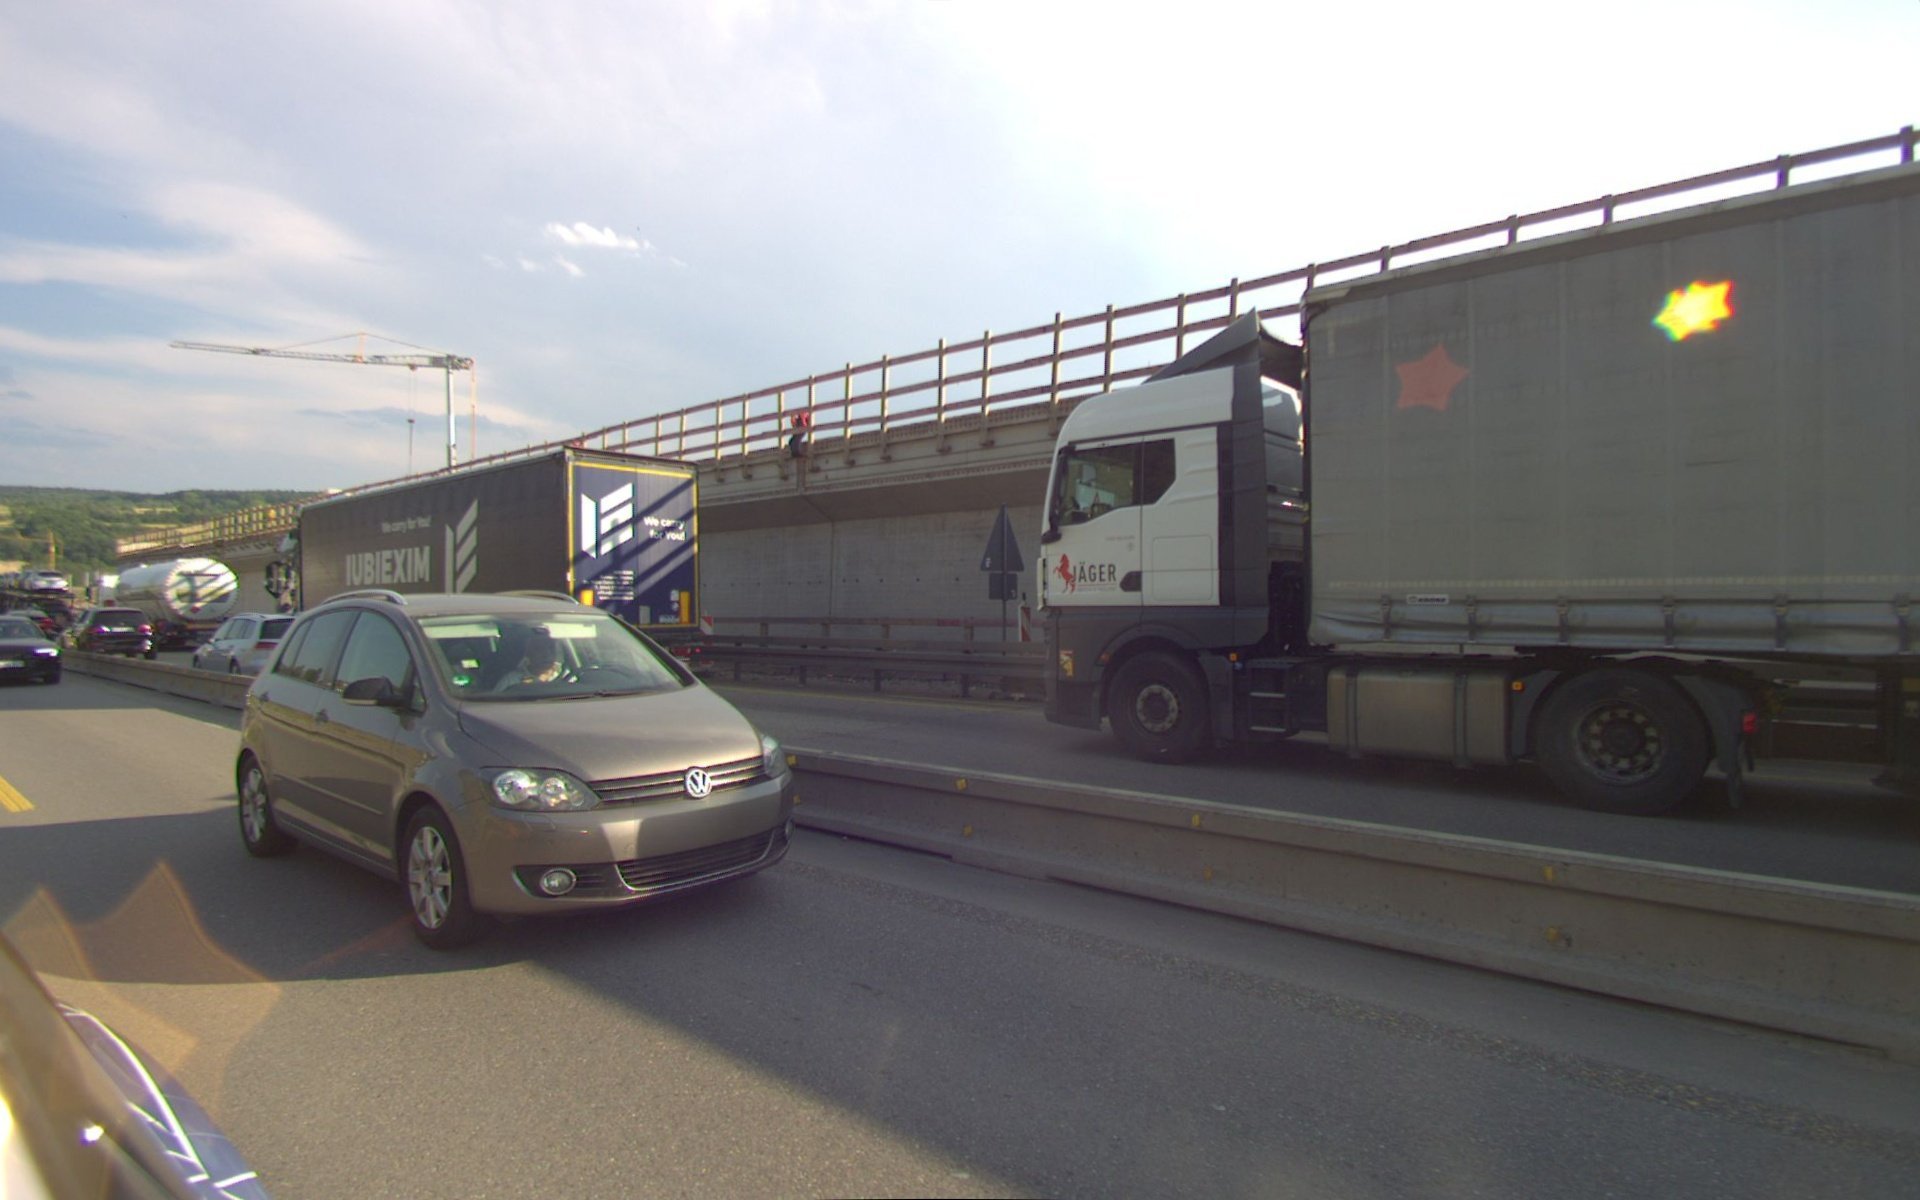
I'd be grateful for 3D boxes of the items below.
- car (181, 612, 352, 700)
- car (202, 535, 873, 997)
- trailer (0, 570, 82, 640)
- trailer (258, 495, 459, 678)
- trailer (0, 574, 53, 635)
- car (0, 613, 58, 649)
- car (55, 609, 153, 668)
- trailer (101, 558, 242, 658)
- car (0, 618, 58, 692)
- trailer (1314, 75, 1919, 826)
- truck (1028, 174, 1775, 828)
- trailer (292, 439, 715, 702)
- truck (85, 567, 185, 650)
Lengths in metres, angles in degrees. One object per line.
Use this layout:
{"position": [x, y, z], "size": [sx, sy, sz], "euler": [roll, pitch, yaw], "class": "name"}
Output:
{"position": [-13.429, 0.987, 19.494], "size": [4.594, 1.470, 1.624], "euler": [0, 0, 41], "class": "car"}
{"position": [-2.565, 0.666, 5.566], "size": [4.269, 1.601, 1.663], "euler": [-2, -4, 41], "class": "car"}
{"position": [-59.857, 0.272, 65.374], "size": [15.758, 4.061, 2.742], "euler": [0, 0, 42], "class": "trailer"}
{"position": [-15.616, -0.256, 26.112], "size": [5.973, 4.173, 2.736], "euler": [-2, -1, 41], "class": "trailer"}
{"position": [-65.414, 0.273, 70.358], "size": [7.205, 4.061, 2.742], "euler": [0, 0, 42], "class": "trailer"}
{"position": [-42.860, 1.400, 46.422], "size": [4.294, 1.569, 1.707], "euler": [-1, -1, 41], "class": "car"}
{"position": [-26.585, 1.139, 31.370], "size": [4.686, 1.657, 1.624], "euler": [0, 0, 41], "class": "car"}
{"position": [-31.582, 0.283, 40.295], "size": [10.678, 3.553, 2.530], "euler": [0, 0, 42], "class": "trailer"}
{"position": [-20.778, 1.126, 21.531], "size": [4.347, 1.430, 1.849], "euler": [0, -1, 41], "class": "car"}
{"position": [8.955, -0.857, 4.667], "size": [13.760, 4.272, 2.883], "euler": [0, 0, 41], "class": "trailer"}
{"position": [3.719, -0.615, 9.178], "size": [5.655, 4.038, 2.831], "euler": [0, 0, 41], "class": "truck"}
{"position": [-10.555, -0.326, 21.711], "size": [14.018, 4.173, 2.736], "euler": [-2, -1, 41], "class": "trailer"}
{"position": [-36.287, 0.351, 44.465], "size": [5.528, 3.435, 2.522], "euler": [0, 0, 41], "class": "truck"}
